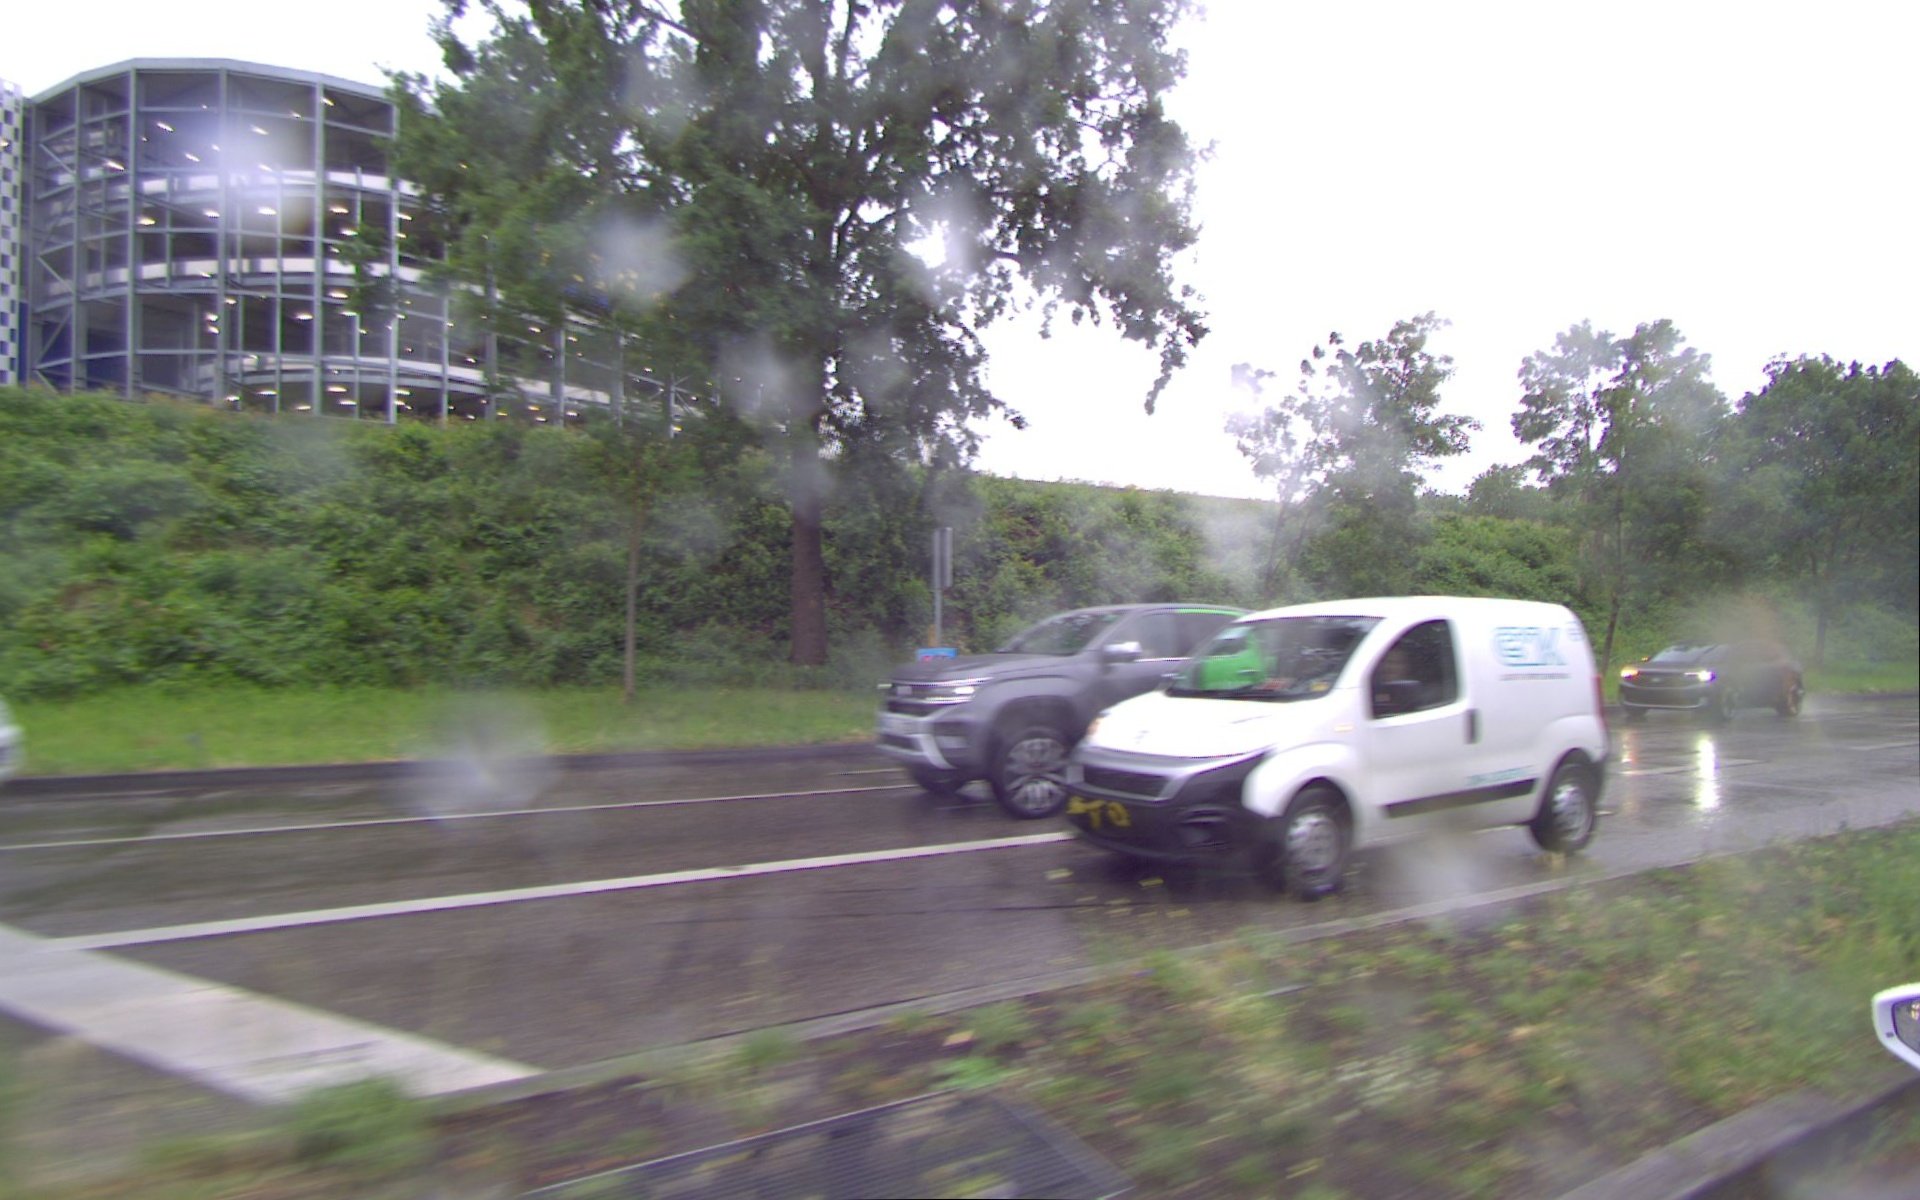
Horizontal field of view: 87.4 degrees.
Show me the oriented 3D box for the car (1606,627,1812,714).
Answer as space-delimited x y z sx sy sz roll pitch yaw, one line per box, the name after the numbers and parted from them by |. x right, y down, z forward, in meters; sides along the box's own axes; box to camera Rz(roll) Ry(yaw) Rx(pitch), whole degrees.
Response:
15.589 1.399 20.878 4.354 1.634 1.889 1 -2 -30 | car

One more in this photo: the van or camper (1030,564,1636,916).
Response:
2.593 0.778 6.804 3.953 1.764 1.721 1 -3 -30 | van or camper

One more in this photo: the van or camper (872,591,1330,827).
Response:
1.403 0.907 9.523 4.171 1.808 1.693 1 -3 -30 | van or camper

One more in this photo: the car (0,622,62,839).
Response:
-8.835 0.932 6.840 3.743 1.564 1.664 1 -3 -30 | car
